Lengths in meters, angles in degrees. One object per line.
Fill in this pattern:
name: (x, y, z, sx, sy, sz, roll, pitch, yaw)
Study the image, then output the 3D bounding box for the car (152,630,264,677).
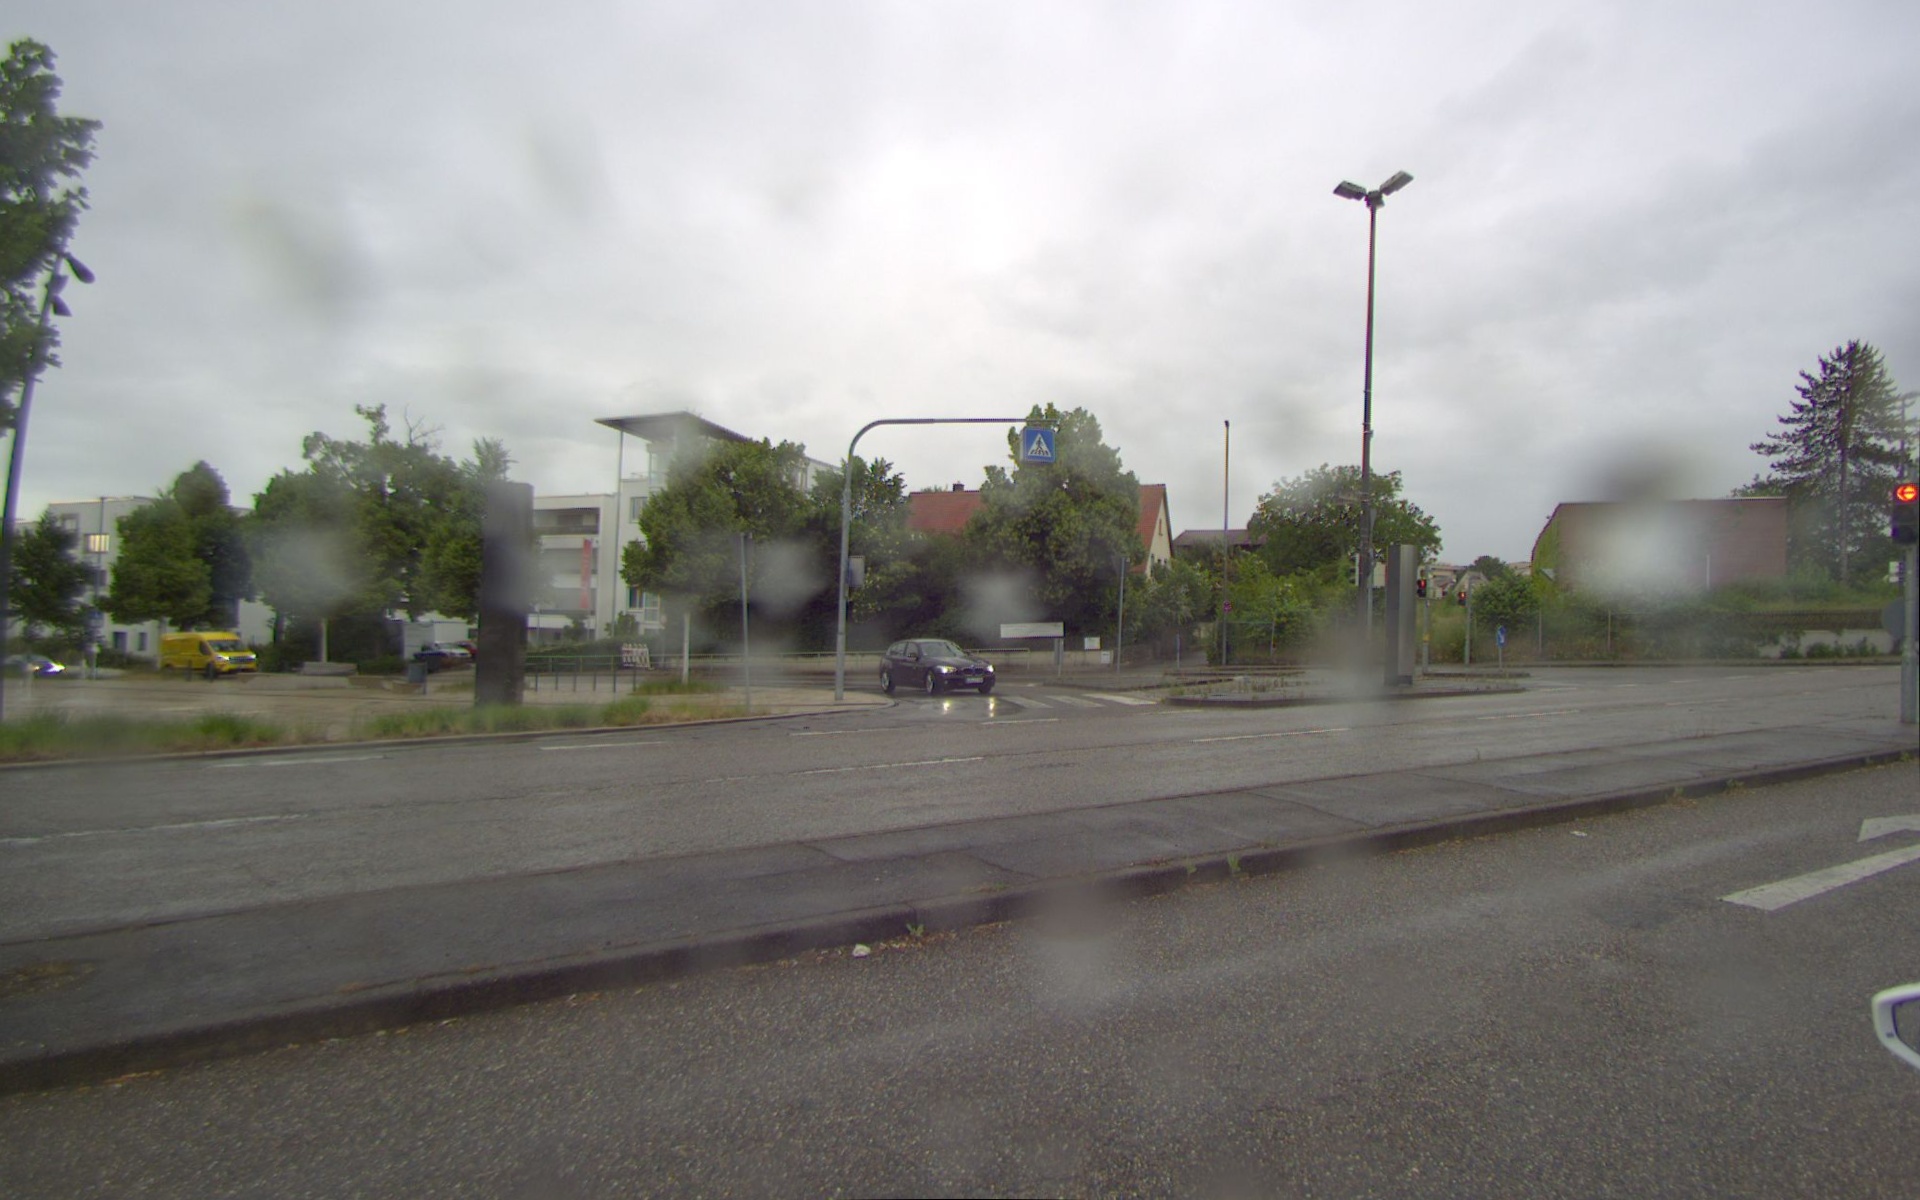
car: (-40.359, 2.900, 53.889, 5.802, 2.441, 2.000, -2, -3, 21)

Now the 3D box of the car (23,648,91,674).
car: (-56.162, 3.817, 62.474, 3.929, 1.559, 1.997, -2, -3, 29)

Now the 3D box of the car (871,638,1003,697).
car: (-0.716, 1.732, 26.832, 1.769, 1.408, 4.248, 1, -2, -29)
